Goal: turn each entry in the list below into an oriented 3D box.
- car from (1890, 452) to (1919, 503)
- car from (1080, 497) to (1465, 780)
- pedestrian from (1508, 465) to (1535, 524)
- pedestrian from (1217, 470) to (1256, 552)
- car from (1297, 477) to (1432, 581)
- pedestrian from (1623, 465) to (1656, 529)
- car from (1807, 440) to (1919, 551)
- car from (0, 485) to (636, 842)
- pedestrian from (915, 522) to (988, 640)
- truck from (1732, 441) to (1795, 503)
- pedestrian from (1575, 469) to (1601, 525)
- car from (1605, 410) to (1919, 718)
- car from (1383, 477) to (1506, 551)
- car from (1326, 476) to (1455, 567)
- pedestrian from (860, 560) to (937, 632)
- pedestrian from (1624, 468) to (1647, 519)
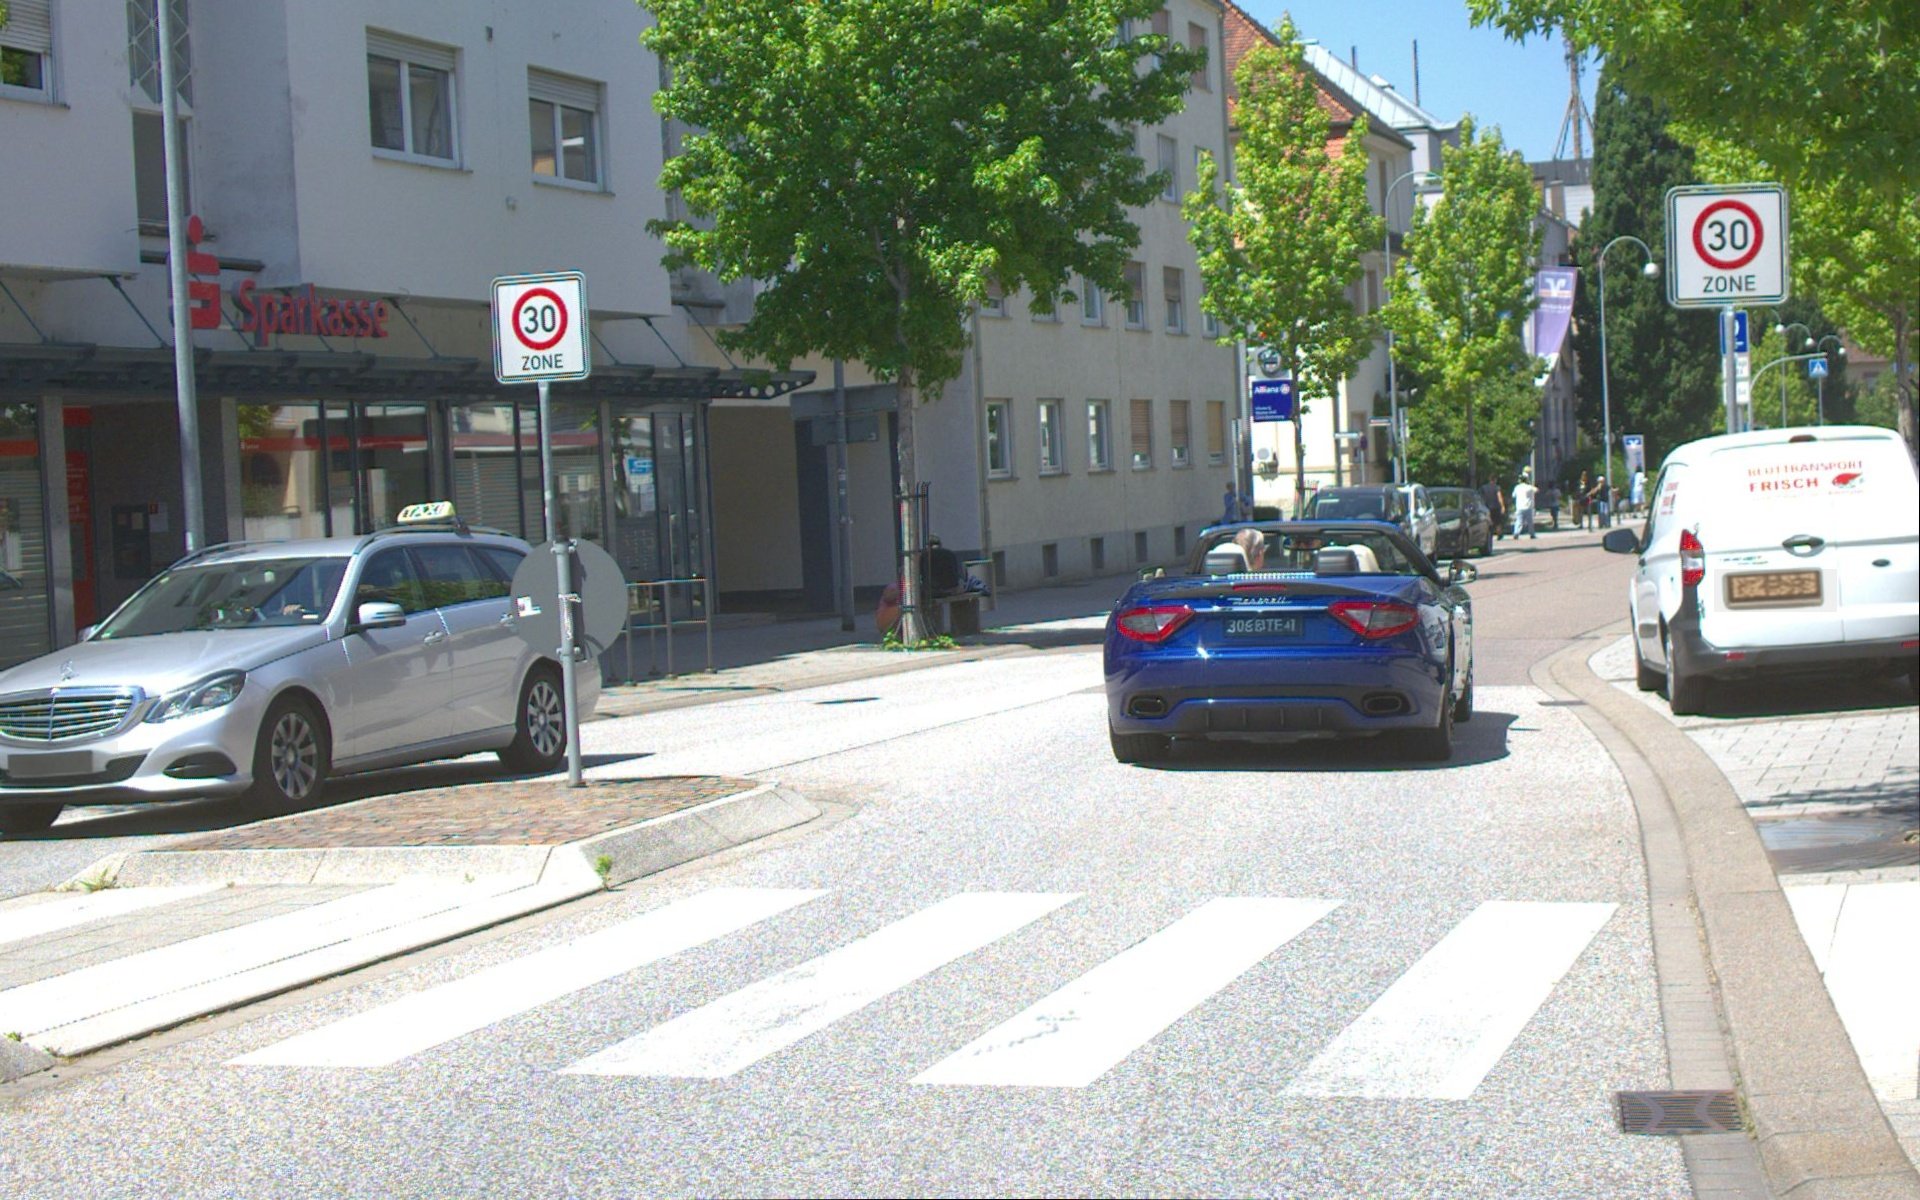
[{"bbox_3d":[31.010,-3.997,110.374,1.978,1.445,4.346,-4,2,18],"label":"car"},{"bbox_3d":[1.942,0.139,20.293,1.977,1.393,4.626,-1,2,8],"label":"car"},{"bbox_3d":[14.489,-2.725,88.693,0.579,1.469,0.564,-2,2,17],"label":"pedestrian"},{"bbox_3d":[5.855,-1.894,72.900,0.656,1.674,0.631,-5,4,0],"label":"pedestrian"},{"bbox_3d":[7.345,-1.323,62.107,1.730,1.734,4.390,1,3,16],"label":"car"},{"bbox_3d":[21.418,-3.249,108.393,0.849,1.909,0.761,-4,4,15],"label":"pedestrian"},{"bbox_3d":[17.421,-2.026,65.494,1.995,1.792,4.566,-3,3,19],"label":"car"},{"bbox_3d":[-3.820,0.264,19.391,1.995,1.587,4.995,-3,2,19],"label":"car"},{"bbox_3d":[-0.102,-0.236,41.188,0.568,1.367,0.666,-3,1,27],"label":"pedestrian"},{"bbox_3d":[29.788,-4.760,127.394,1.806,2.110,4.711,-3,2,18],"label":"truck"},{"bbox_3d":[16.887,-2.765,92.434,0.579,1.469,0.564,-2,2,17],"label":"pedestrian"},{"bbox_3d":[5.255,-0.278,22.336,1.747,1.718,3.909,-4,1,7],"label":"car"},{"bbox_3d":[10.324,-1.847,73.031,1.756,1.469,4.318,0,2,19],"label":"car"},{"bbox_3d":[8.444,-1.552,67.130,1.825,1.614,4.390,-1,3,16],"label":"car"},{"bbox_3d":[-0.757,-0.044,42.329,0.665,0.855,0.731,-3,-2,27],"label":"pedestrian"},{"bbox_3d":[21.284,-3.366,108.358,0.587,1.569,0.781,-2,2,17],"label":"pedestrian"}]
